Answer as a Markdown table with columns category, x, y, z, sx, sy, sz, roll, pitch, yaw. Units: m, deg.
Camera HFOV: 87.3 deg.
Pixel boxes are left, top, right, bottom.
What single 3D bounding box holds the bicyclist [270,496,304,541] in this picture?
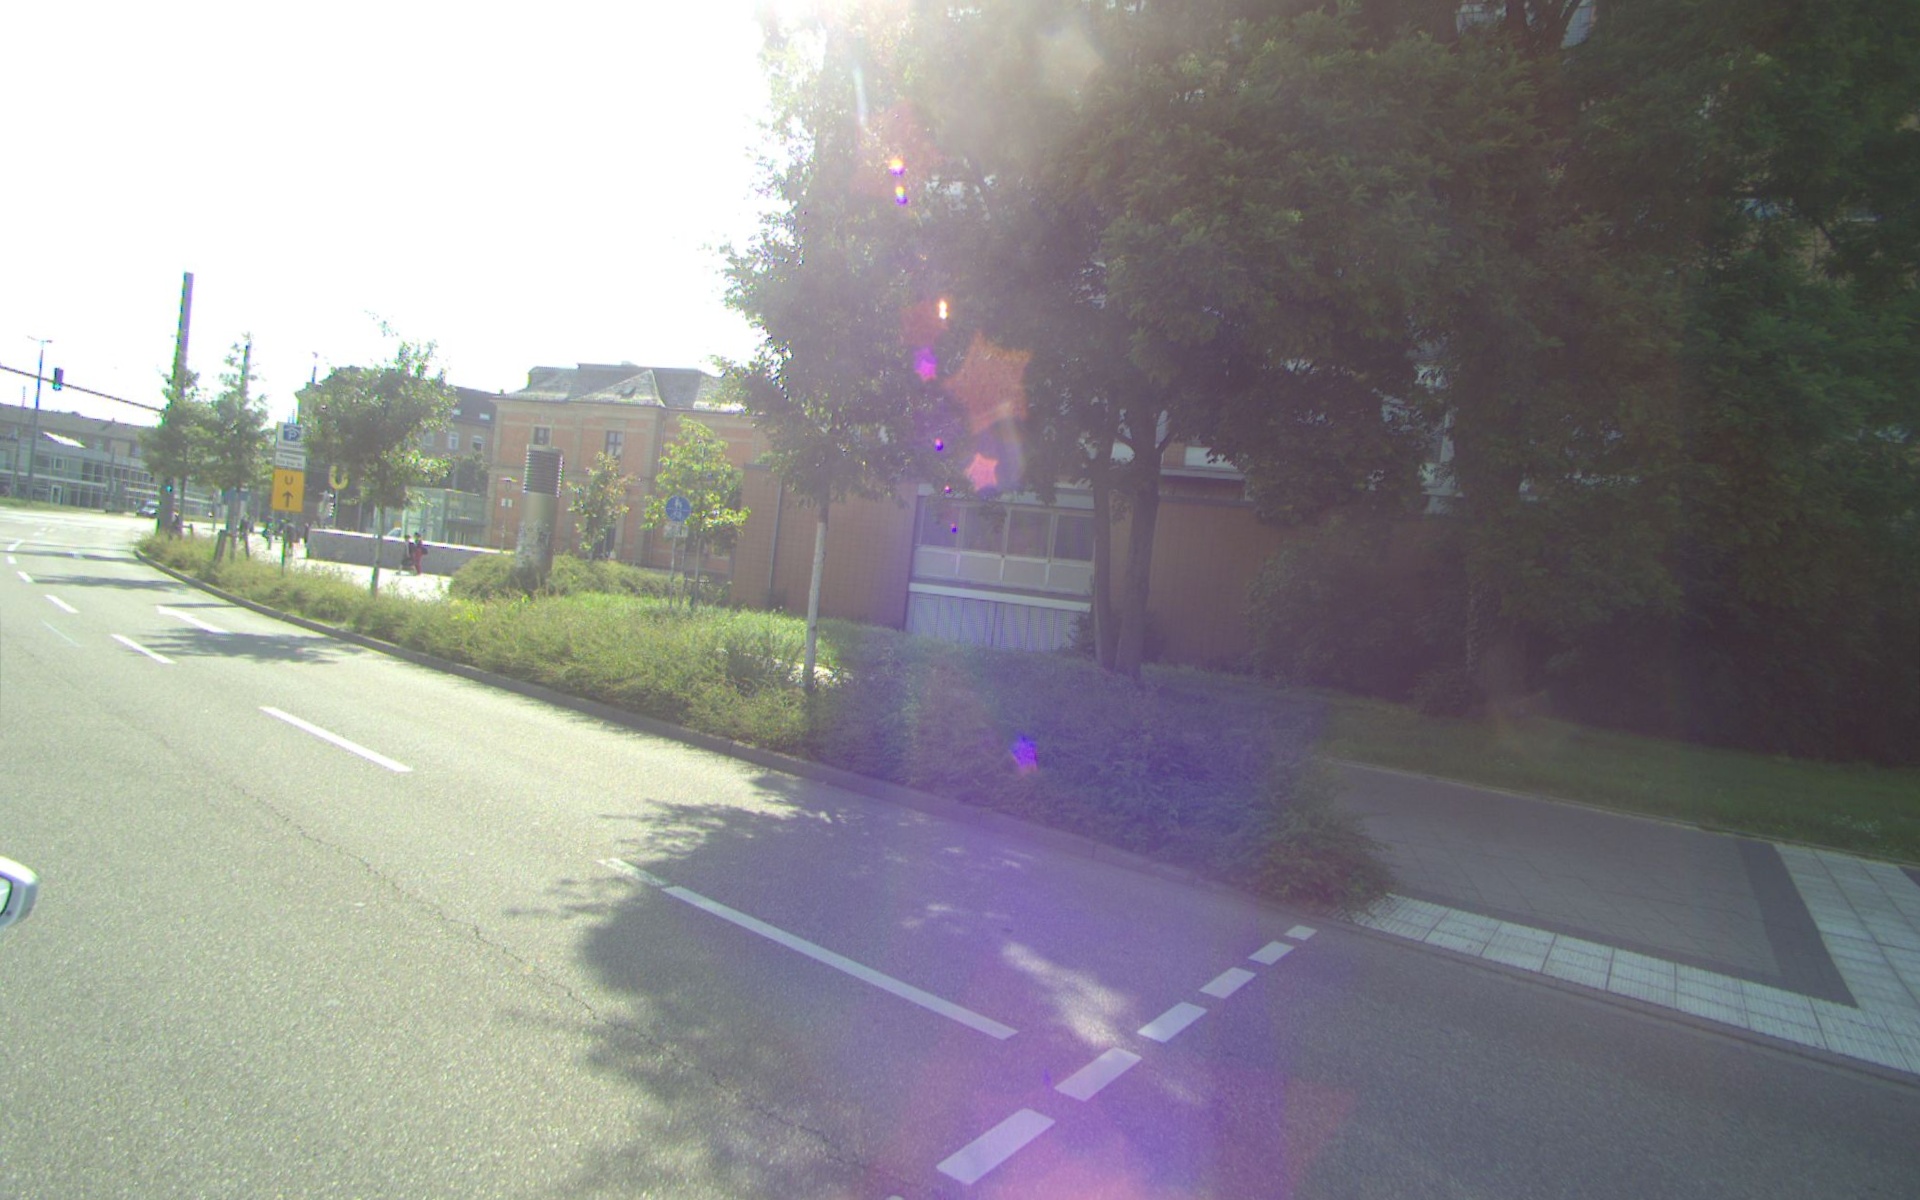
| category | x | y | z | sx | sy | sz | roll | pitch | yaw |
| --- | --- | --- | --- | --- | --- | --- | --- | --- | --- |
| bicyclist | -25.790 | -3.134 | 38.556 | 0.977 | 1.598 | 0.770 | 7 | 0 | 43 |

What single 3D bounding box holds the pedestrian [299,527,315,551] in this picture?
| category | x | y | z | sx | sy | sz | roll | pitch | yaw |
| --- | --- | --- | --- | --- | --- | --- | --- | --- | --- |
| pedestrian | -44.185 | -4.113 | 68.065 | 0.741 | 1.549 | 0.799 | 6 | 1 | -33 |

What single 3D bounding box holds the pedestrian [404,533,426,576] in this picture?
| category | x | y | z | sx | sy | sz | roll | pitch | yaw |
| --- | --- | --- | --- | --- | --- | --- | --- | --- | --- |
| pedestrian | -21.780 | -1.833 | 40.211 | 0.609 | 1.649 | 0.529 | 6 | 1 | -30 |

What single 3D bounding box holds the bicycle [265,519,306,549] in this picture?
| category | x | y | z | sx | sy | sz | roll | pitch | yaw |
| --- | --- | --- | --- | --- | --- | --- | --- | --- | --- |
| bicycle | -25.845 | -2.548 | 38.558 | 2.121 | 0.988 | 0.770 | 6 | 0 | 43 |

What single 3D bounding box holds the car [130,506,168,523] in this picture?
| category | x | y | z | sx | sy | sz | roll | pitch | yaw |
| --- | --- | --- | --- | --- | --- | --- | --- | --- | --- |
| car | -96.354 | -10.148 | 119.572 | 1.969 | 1.460 | 3.987 | 7 | 0 | -16 |

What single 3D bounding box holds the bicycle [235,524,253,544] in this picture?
| category | x | y | z | sx | sy | sz | roll | pitch | yaw |
| --- | --- | --- | --- | --- | --- | --- | --- | --- | --- |
| bicycle | -42.222 | -3.909 | 59.351 | 0.701 | 1.074 | 1.965 | 6 | 0 | -32 |

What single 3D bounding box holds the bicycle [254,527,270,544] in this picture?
| category | x | y | z | sx | sy | sz | roll | pitch | yaw |
| --- | --- | --- | --- | --- | --- | --- | --- | --- | --- |
| bicycle | -47.755 | -4.408 | 68.845 | 0.701 | 1.074 | 1.965 | 6 | 0 | -32 |

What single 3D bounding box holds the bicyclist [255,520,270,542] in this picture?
| category | x | y | z | sx | sy | sz | roll | pitch | yaw |
| --- | --- | --- | --- | --- | --- | --- | --- | --- | --- |
| bicyclist | -47.735 | -4.747 | 68.866 | 0.701 | 1.411 | 0.822 | 6 | 1 | -33 |

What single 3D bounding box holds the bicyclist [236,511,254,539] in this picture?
| category | x | y | z | sx | sy | sz | roll | pitch | yaw |
| --- | --- | --- | --- | --- | --- | --- | --- | --- | --- |
| bicyclist | -42.159 | -4.420 | 59.335 | 0.708 | 1.549 | 0.799 | 6 | 1 | -33 |

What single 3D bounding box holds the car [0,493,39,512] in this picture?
| category | x | y | z | sx | sy | sz | roll | pitch | yaw |
| --- | --- | --- | --- | --- | --- | --- | --- | --- | --- |
| car | -94.843 | -9.830 | 101.136 | 1.973 | 1.460 | 3.979 | 7 | 0 | -22 |

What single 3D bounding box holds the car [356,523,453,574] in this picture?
| category | x | y | z | sx | sy | sz | roll | pitch | yaw |
| --- | --- | --- | --- | --- | --- | --- | --- | --- | --- |
| car | -28.637 | -2.615 | 51.985 | 1.722 | 2.039 | 3.997 | 10 | 1 | 24 |

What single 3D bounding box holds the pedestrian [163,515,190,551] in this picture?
| category | x | y | z | sx | sy | sz | roll | pitch | yaw |
| --- | --- | --- | --- | --- | --- | --- | --- | --- | --- |
| pedestrian | -31.603 | -2.698 | 40.569 | 0.625 | 1.379 | 0.635 | 7 | 1 | 40 |

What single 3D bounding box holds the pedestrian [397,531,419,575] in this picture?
| category | x | y | z | sx | sy | sz | roll | pitch | yaw |
| --- | --- | --- | --- | --- | --- | --- | --- | --- | --- |
| pedestrian | -21.717 | -1.850 | 39.602 | 0.609 | 1.659 | 0.530 | 6 | 1 | -26 |
